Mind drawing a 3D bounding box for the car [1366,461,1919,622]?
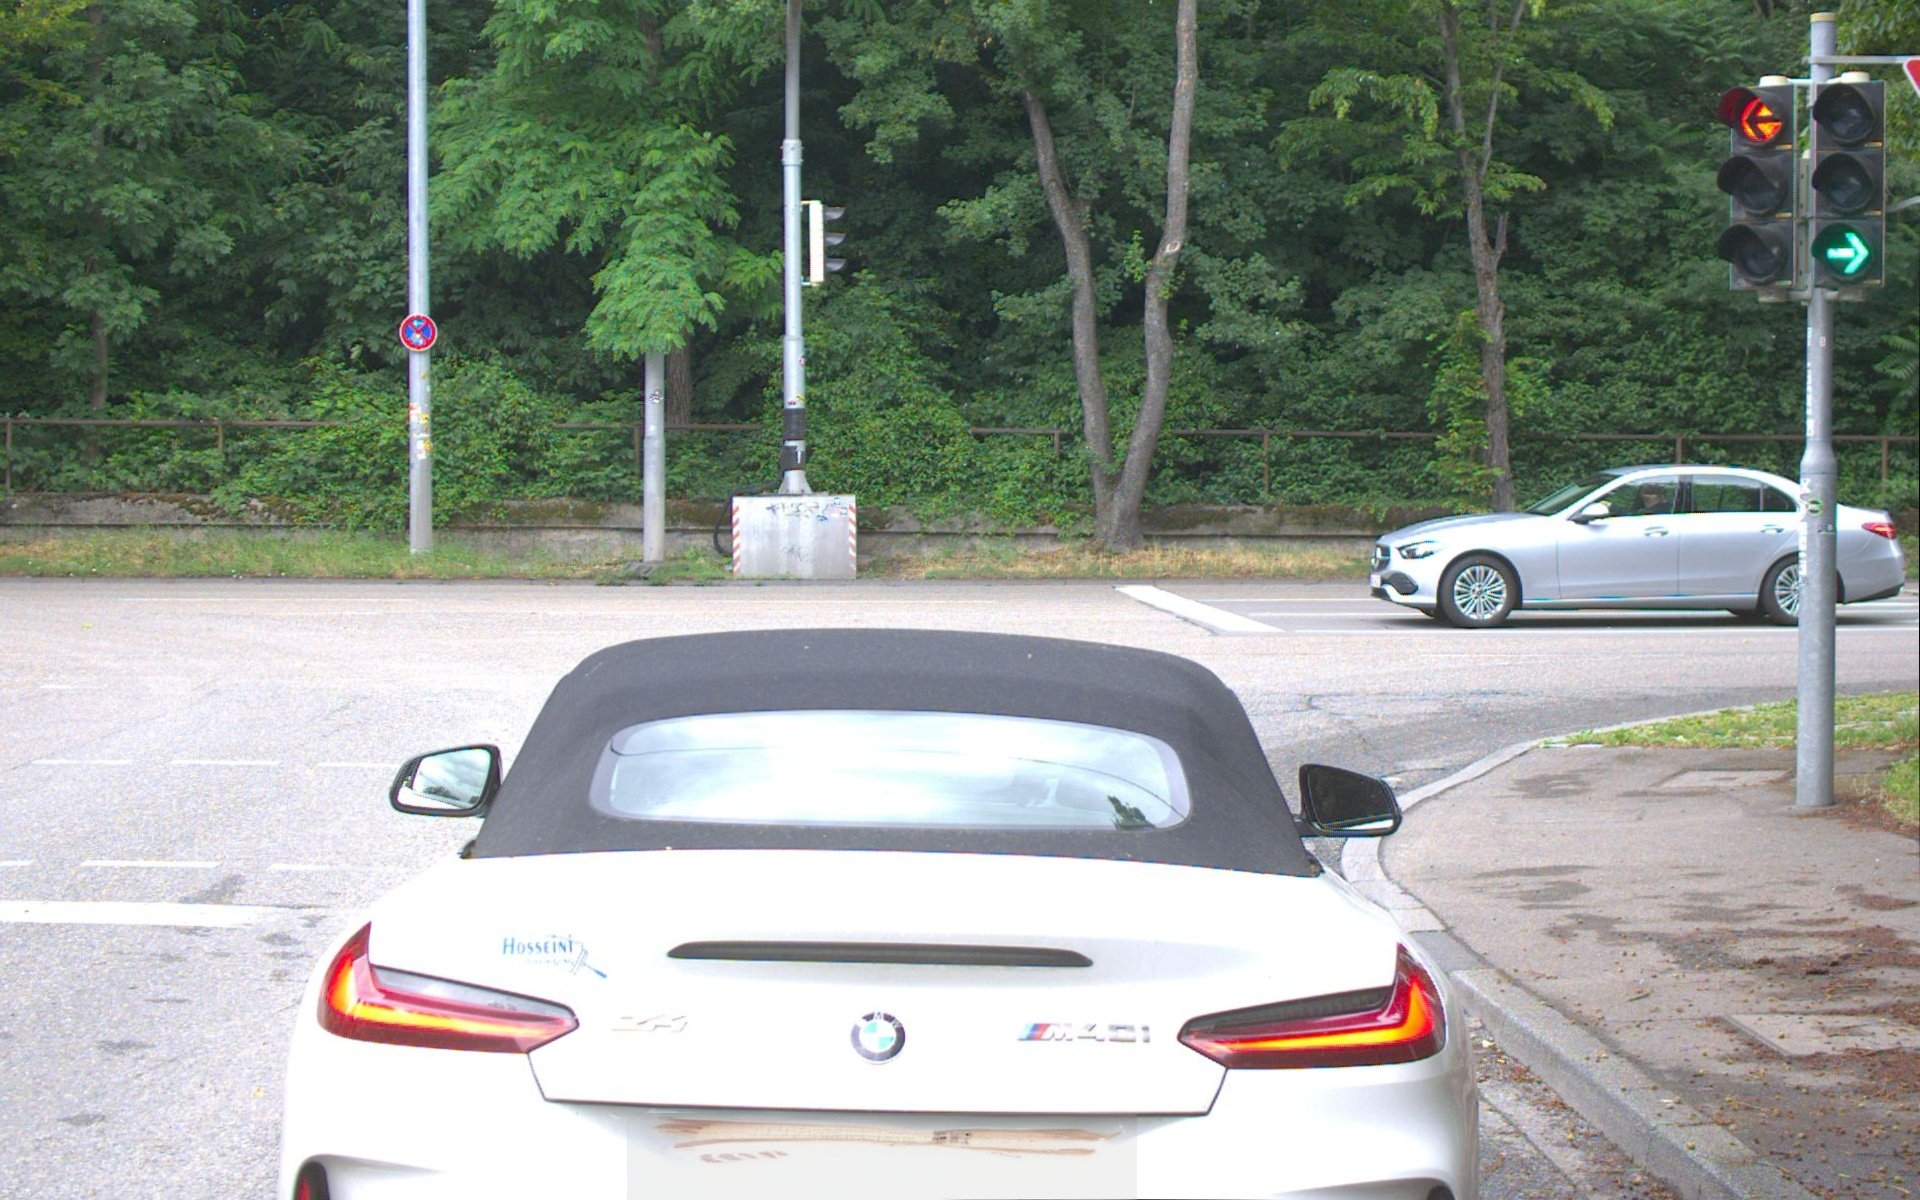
[{"bbox_3d":[6.170,-0.545,30.999,4.751,1.329,1.834,1,3,-1],"label":"car"}]

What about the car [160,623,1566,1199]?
[{"bbox_3d":[-0.219,0.697,6.511,1.827,1.253,4.000,2,0,-3],"label":"car"}]
